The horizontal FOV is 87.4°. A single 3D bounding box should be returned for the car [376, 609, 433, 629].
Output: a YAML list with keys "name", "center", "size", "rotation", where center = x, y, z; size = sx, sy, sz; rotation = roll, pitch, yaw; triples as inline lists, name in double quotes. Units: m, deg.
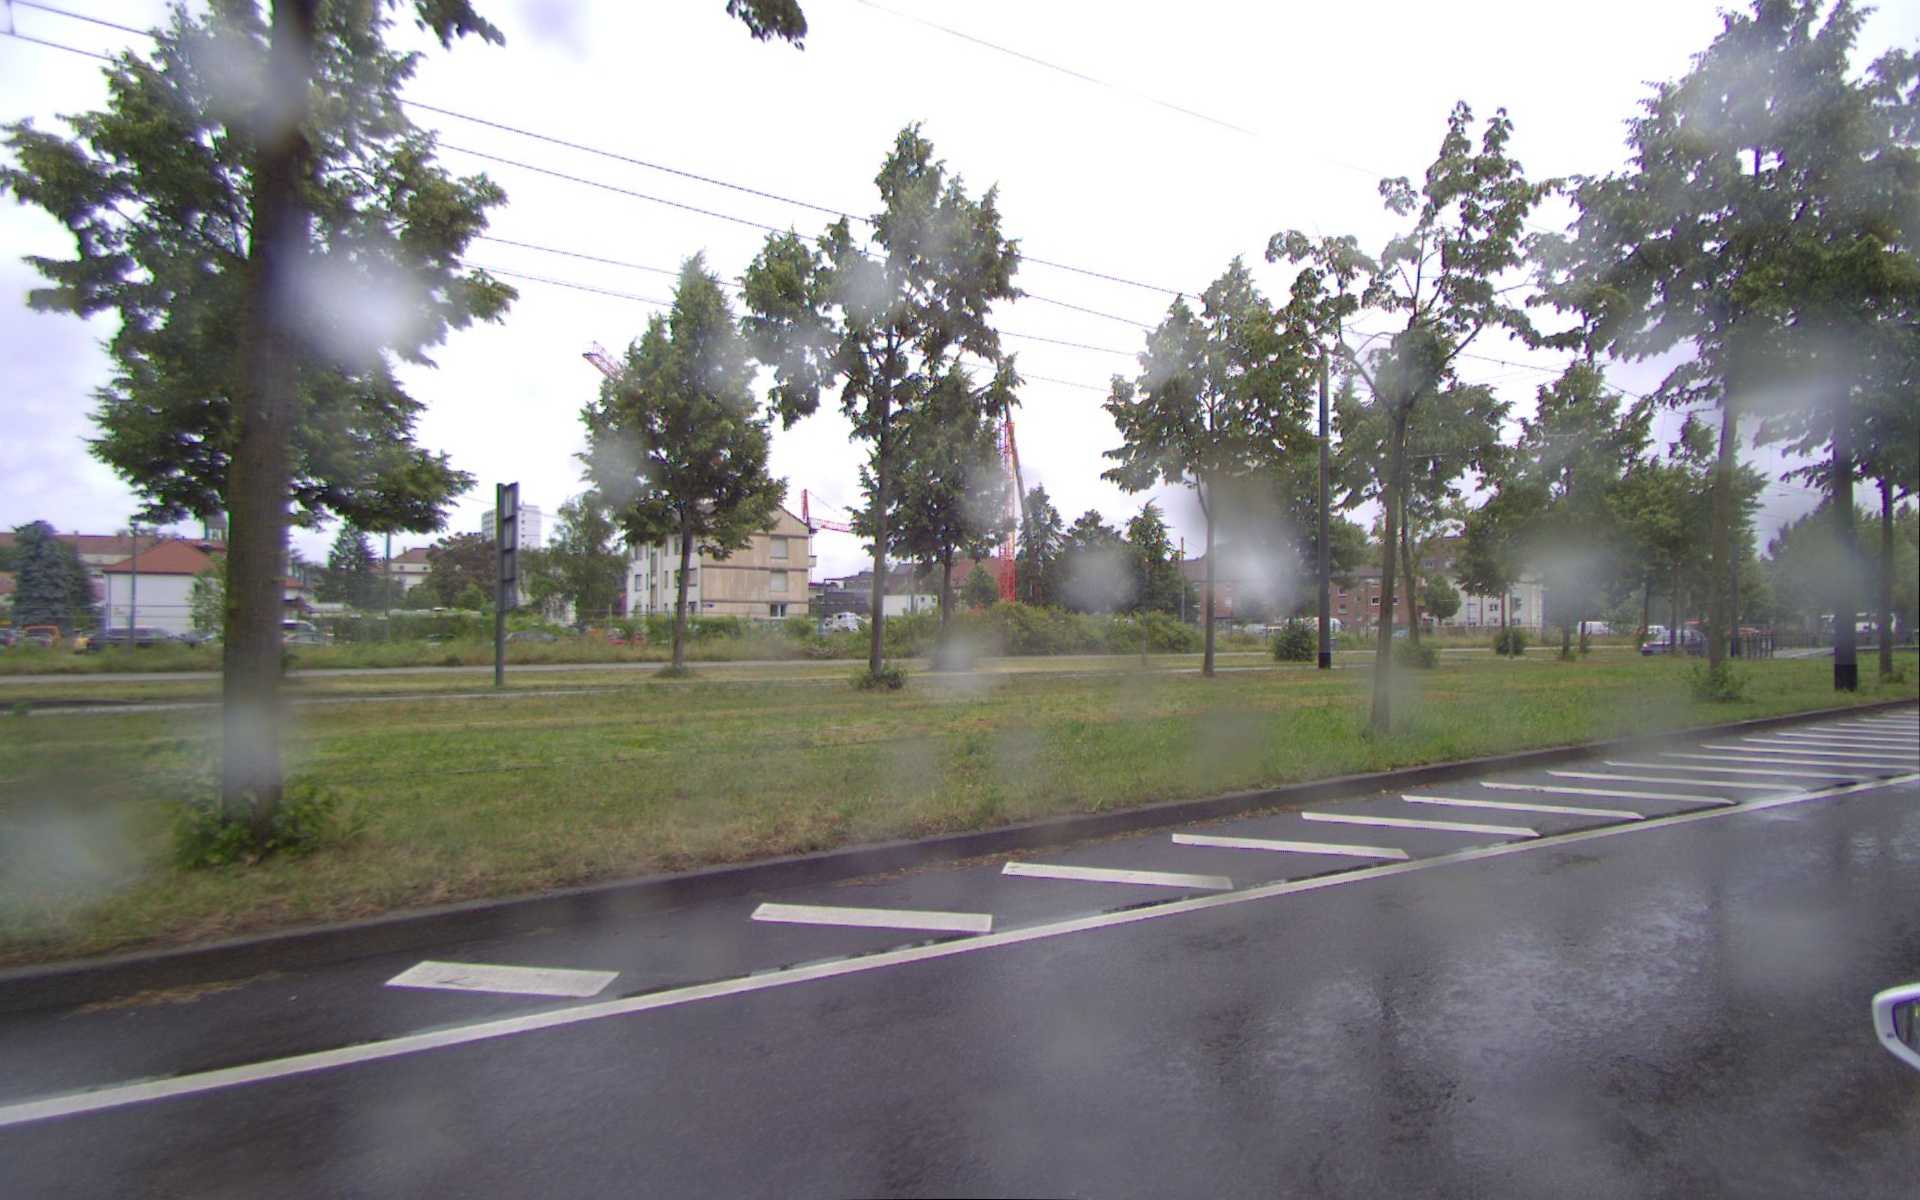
- name: "car"
  center: [-36.265, 1.240, 65.619]
  size: [3.208, 1.215, 1.182]
  rotation: [-1, 0, -30]

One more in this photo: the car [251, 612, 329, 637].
- name: "car"
  center: [-41.187, 1.501, 61.873]
  size: [3.855, 1.368, 1.682]
  rotation: [-1, 0, -30]

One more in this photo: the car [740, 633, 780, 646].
- name: "car"
  center: [-15.550, 3.064, 78.026]
  size: [2.860, 0.991, 1.181]
  rotation: [1, -2, -34]

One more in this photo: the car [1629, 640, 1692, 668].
- name: "car"
  center: [34.960, 2.710, 50.076]
  size: [4.938, 1.315, 1.475]
  rotation: [3, -3, -41]

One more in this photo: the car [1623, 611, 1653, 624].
- name: "car"
  center: [100.374, 2.568, 148.755]
  size: [3.481, 1.762, 1.702]
  rotation: [-1, 0, 32]

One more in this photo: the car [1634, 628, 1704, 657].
- name: "car"
  center: [35.645, 2.105, 50.461]
  size: [4.807, 1.283, 1.537]
  rotation: [0, 0, -38]

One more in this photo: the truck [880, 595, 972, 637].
- name: "truck"
  center: [-4.529, 2.126, 139.040]
  size: [6.098, 5.468, 13.270]
  rotation: [-1, 0, 34]
